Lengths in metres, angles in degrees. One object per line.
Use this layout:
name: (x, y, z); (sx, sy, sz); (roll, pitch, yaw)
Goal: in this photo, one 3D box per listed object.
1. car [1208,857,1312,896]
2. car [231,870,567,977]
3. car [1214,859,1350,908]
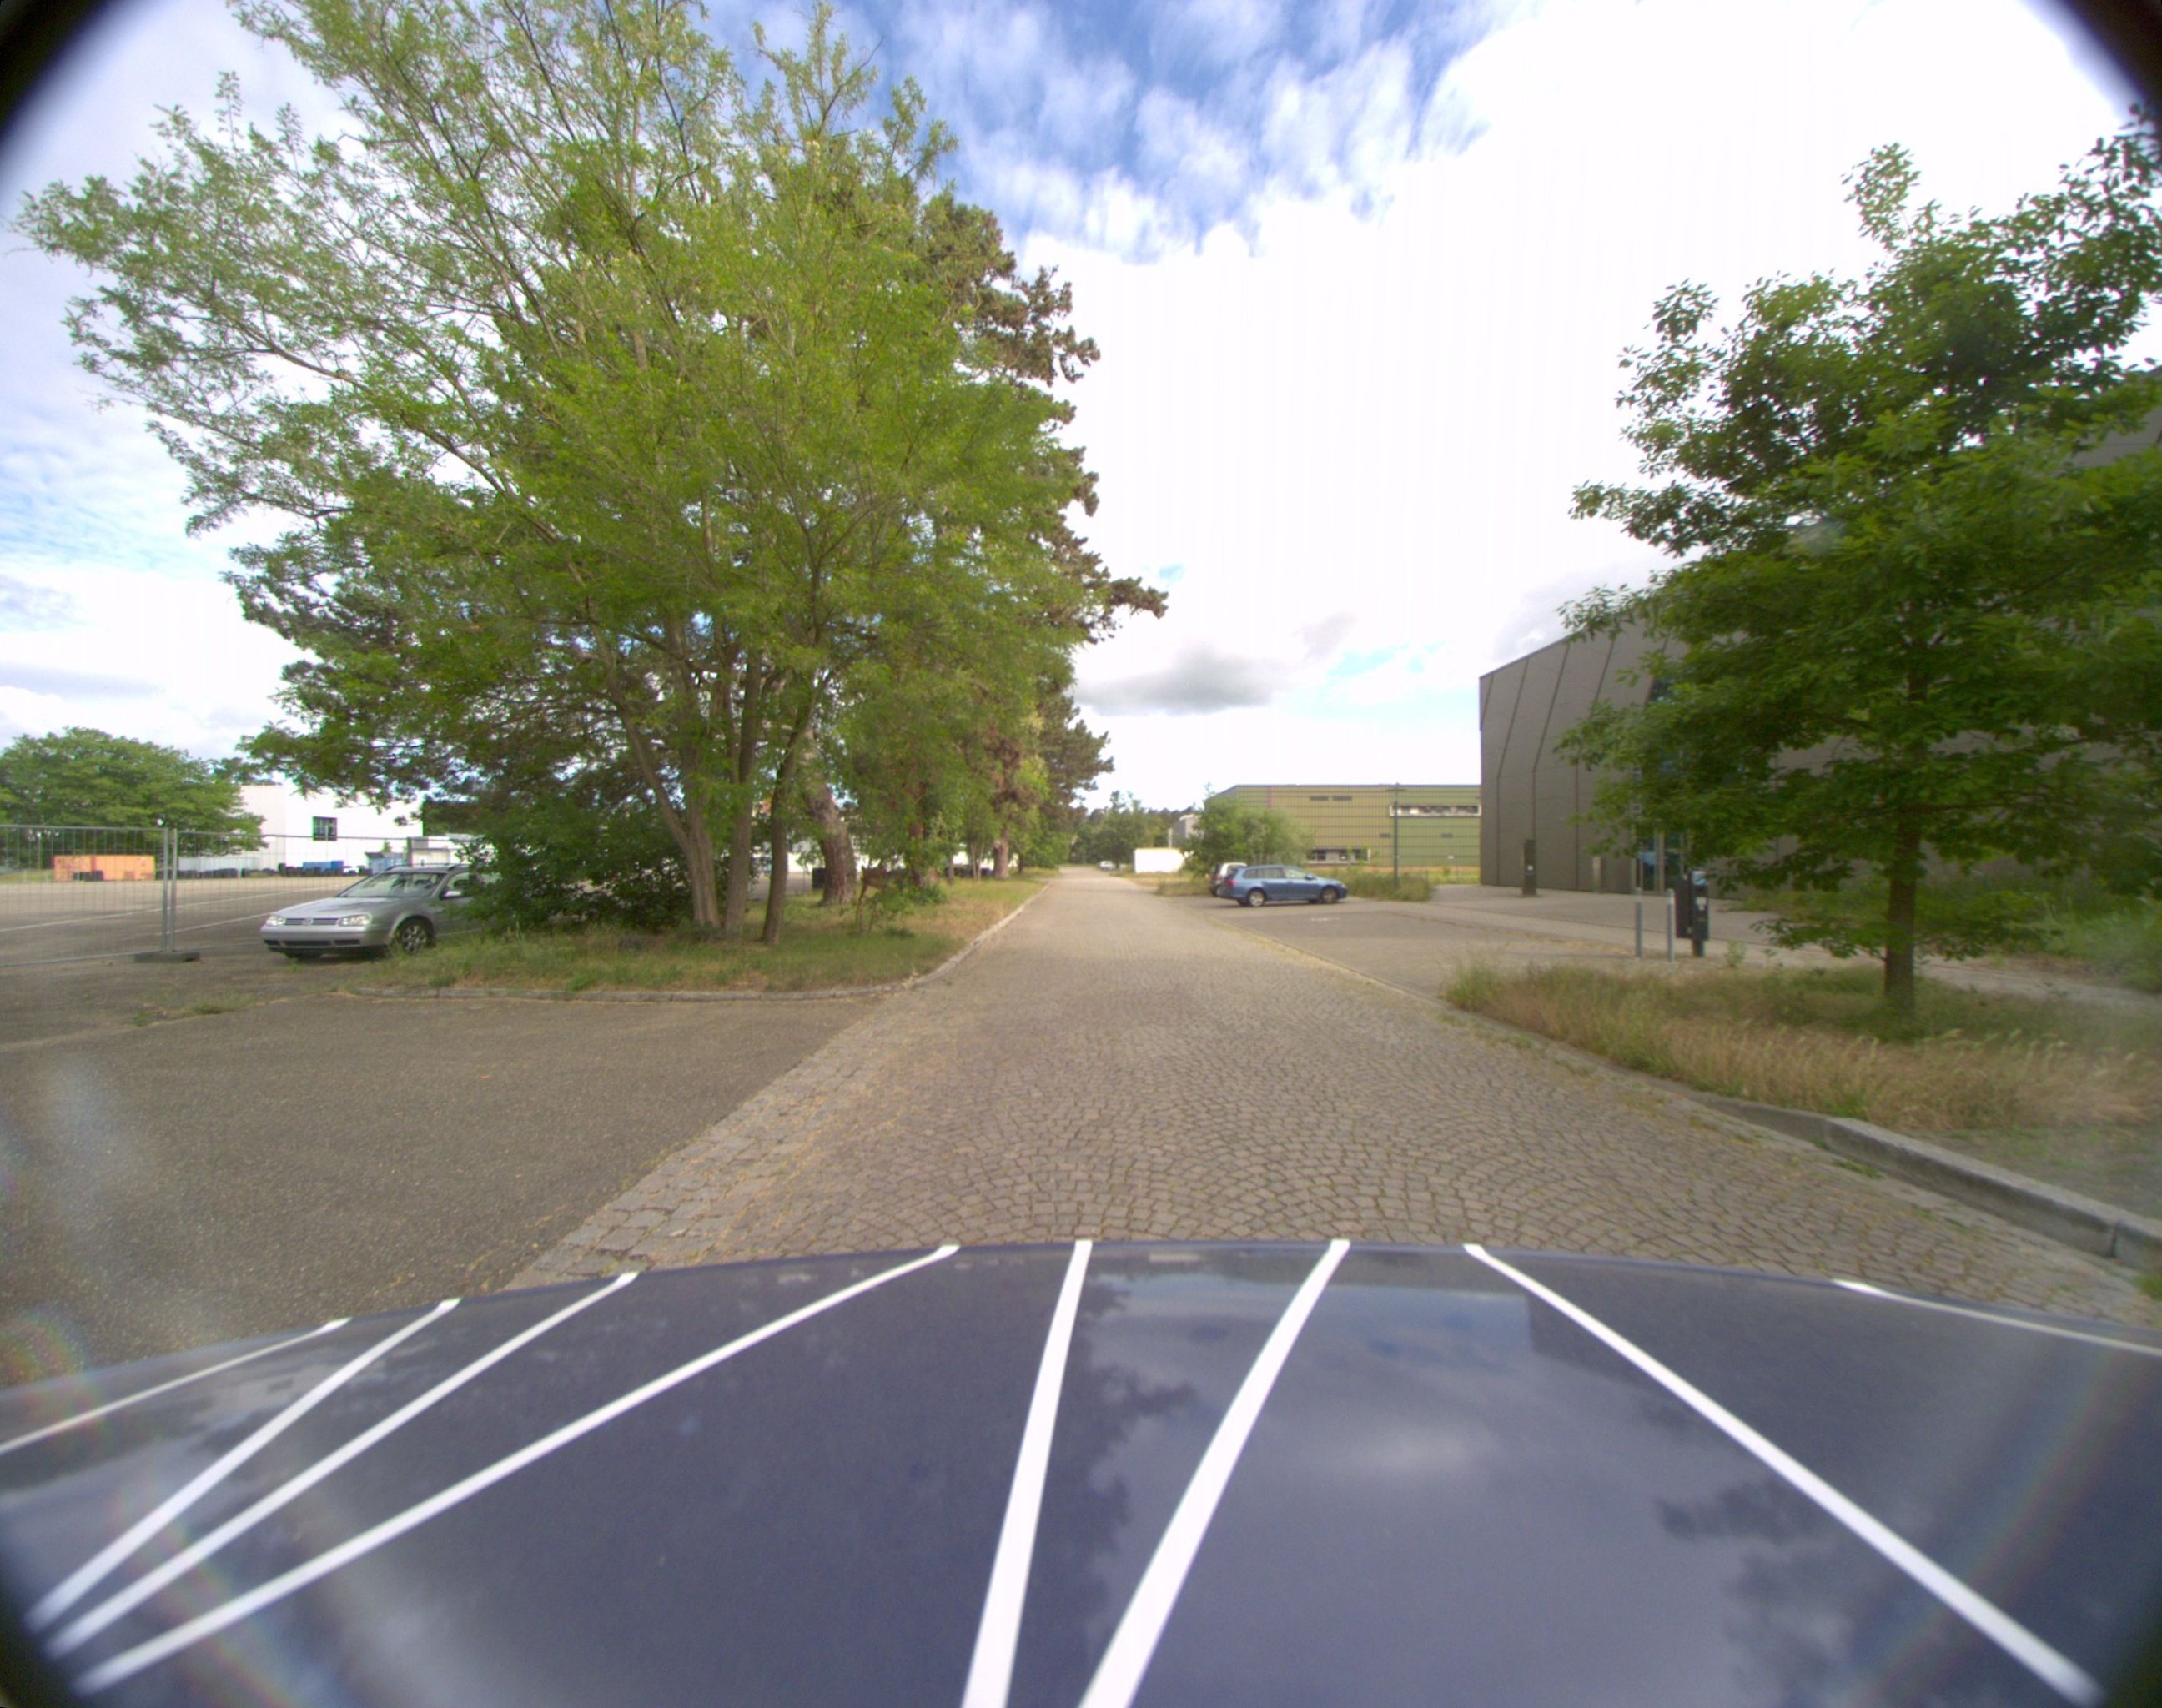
car: (8.139, 1.014, 34.840); (4.401, 1.537, 1.842); (-3, 0, 6)
car: (-11.119, 1.024, 12.918); (1.759, 1.440, 4.327); (0, 0, 1)
car: (7.239, 1.043, 27.552); (4.404, 1.501, 1.716); (-3, 0, -3)
